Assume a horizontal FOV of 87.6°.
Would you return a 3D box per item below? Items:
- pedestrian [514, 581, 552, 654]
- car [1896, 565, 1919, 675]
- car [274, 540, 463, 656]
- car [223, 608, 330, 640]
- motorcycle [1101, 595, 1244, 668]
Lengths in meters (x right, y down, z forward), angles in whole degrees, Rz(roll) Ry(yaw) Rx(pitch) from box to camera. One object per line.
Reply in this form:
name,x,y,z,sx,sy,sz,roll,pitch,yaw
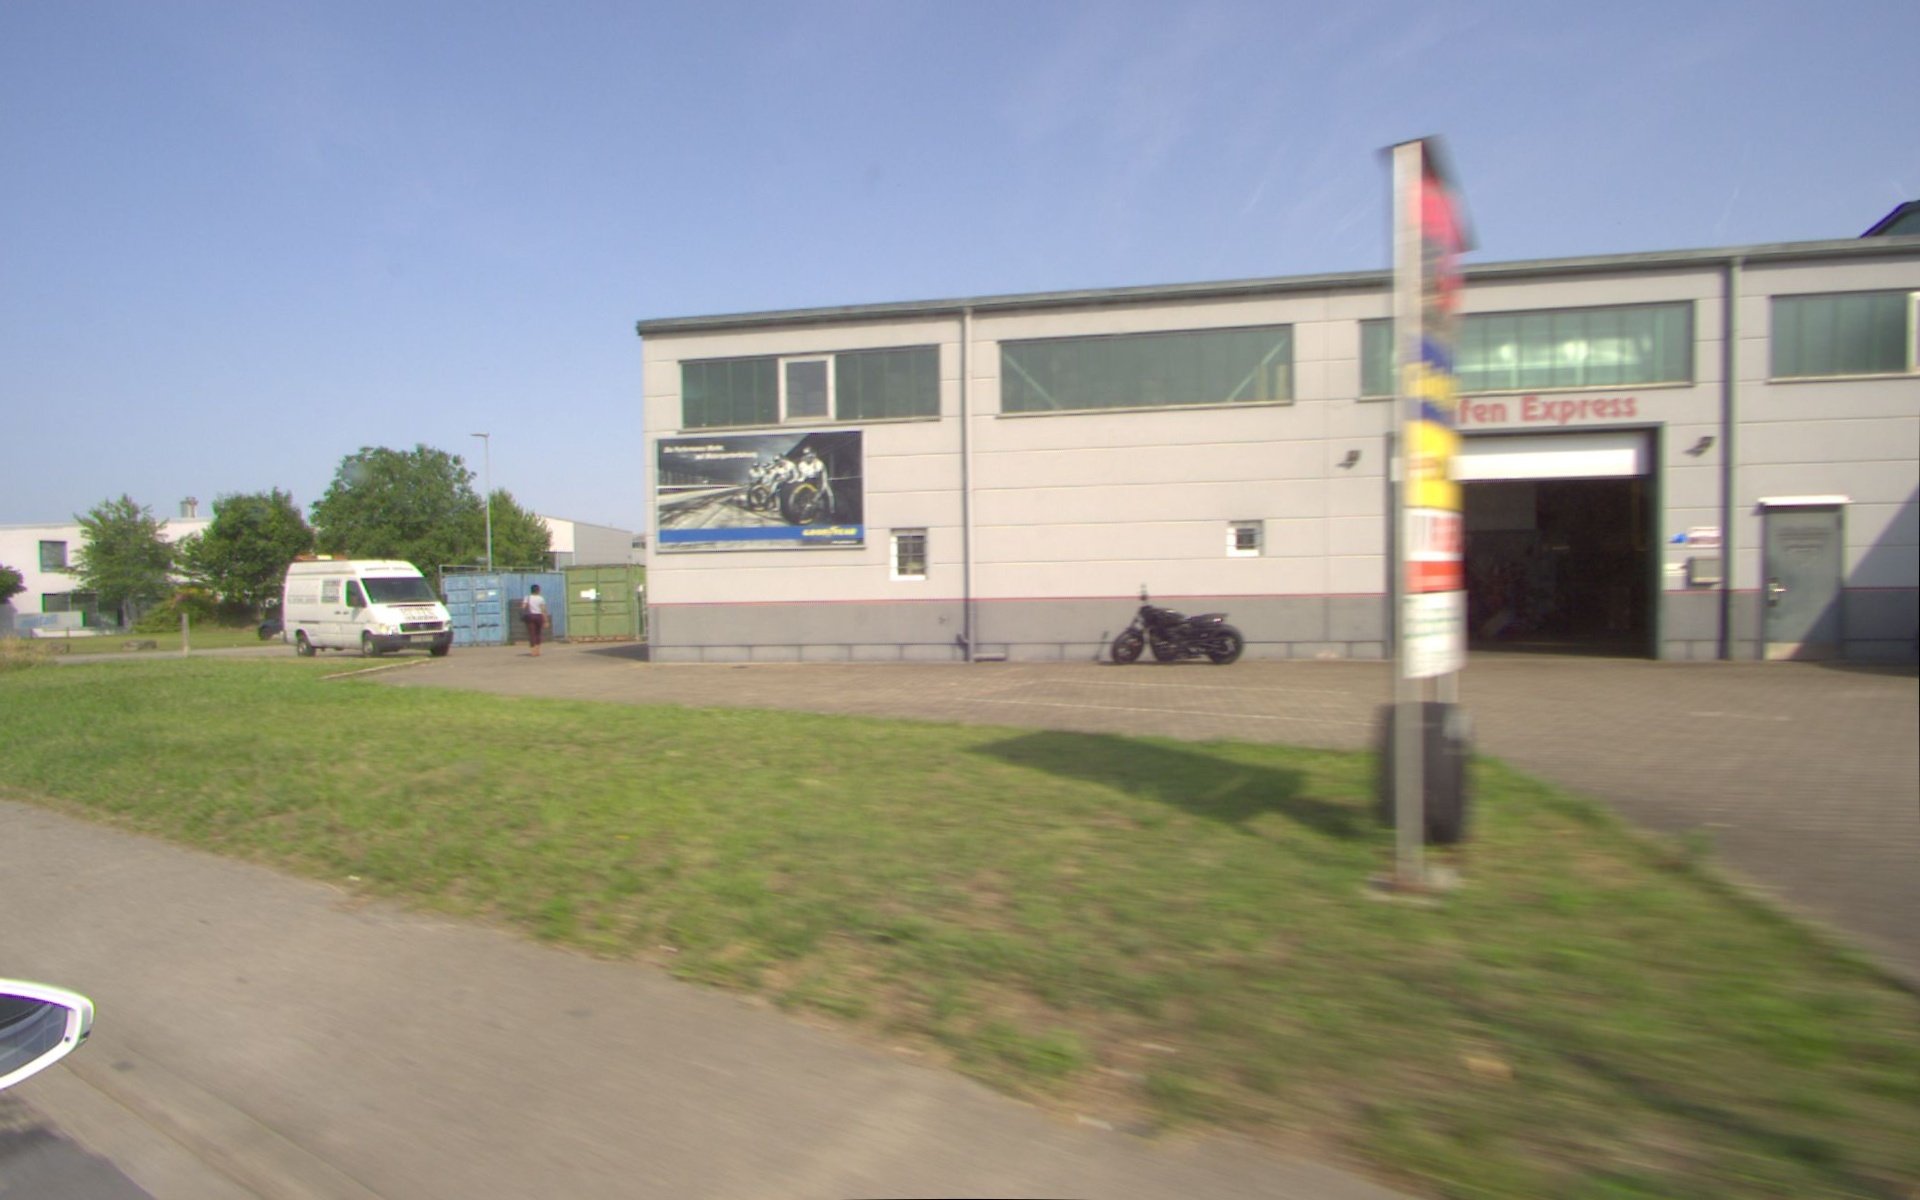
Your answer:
pedestrian,-10.013,0.398,23.497,0.695,1.662,0.745,-1,1,-31
car,14.173,0.242,12.229,3.641,1.421,1.680,-1,1,11
car,-15.537,-0.029,26.164,5.800,2.742,1.968,0,1,35
car,-32.149,1.121,47.106,4.267,1.428,1.784,-1,1,15
motorcycle,3.321,0.490,15.832,2.160,1.109,0.803,-1,1,8
